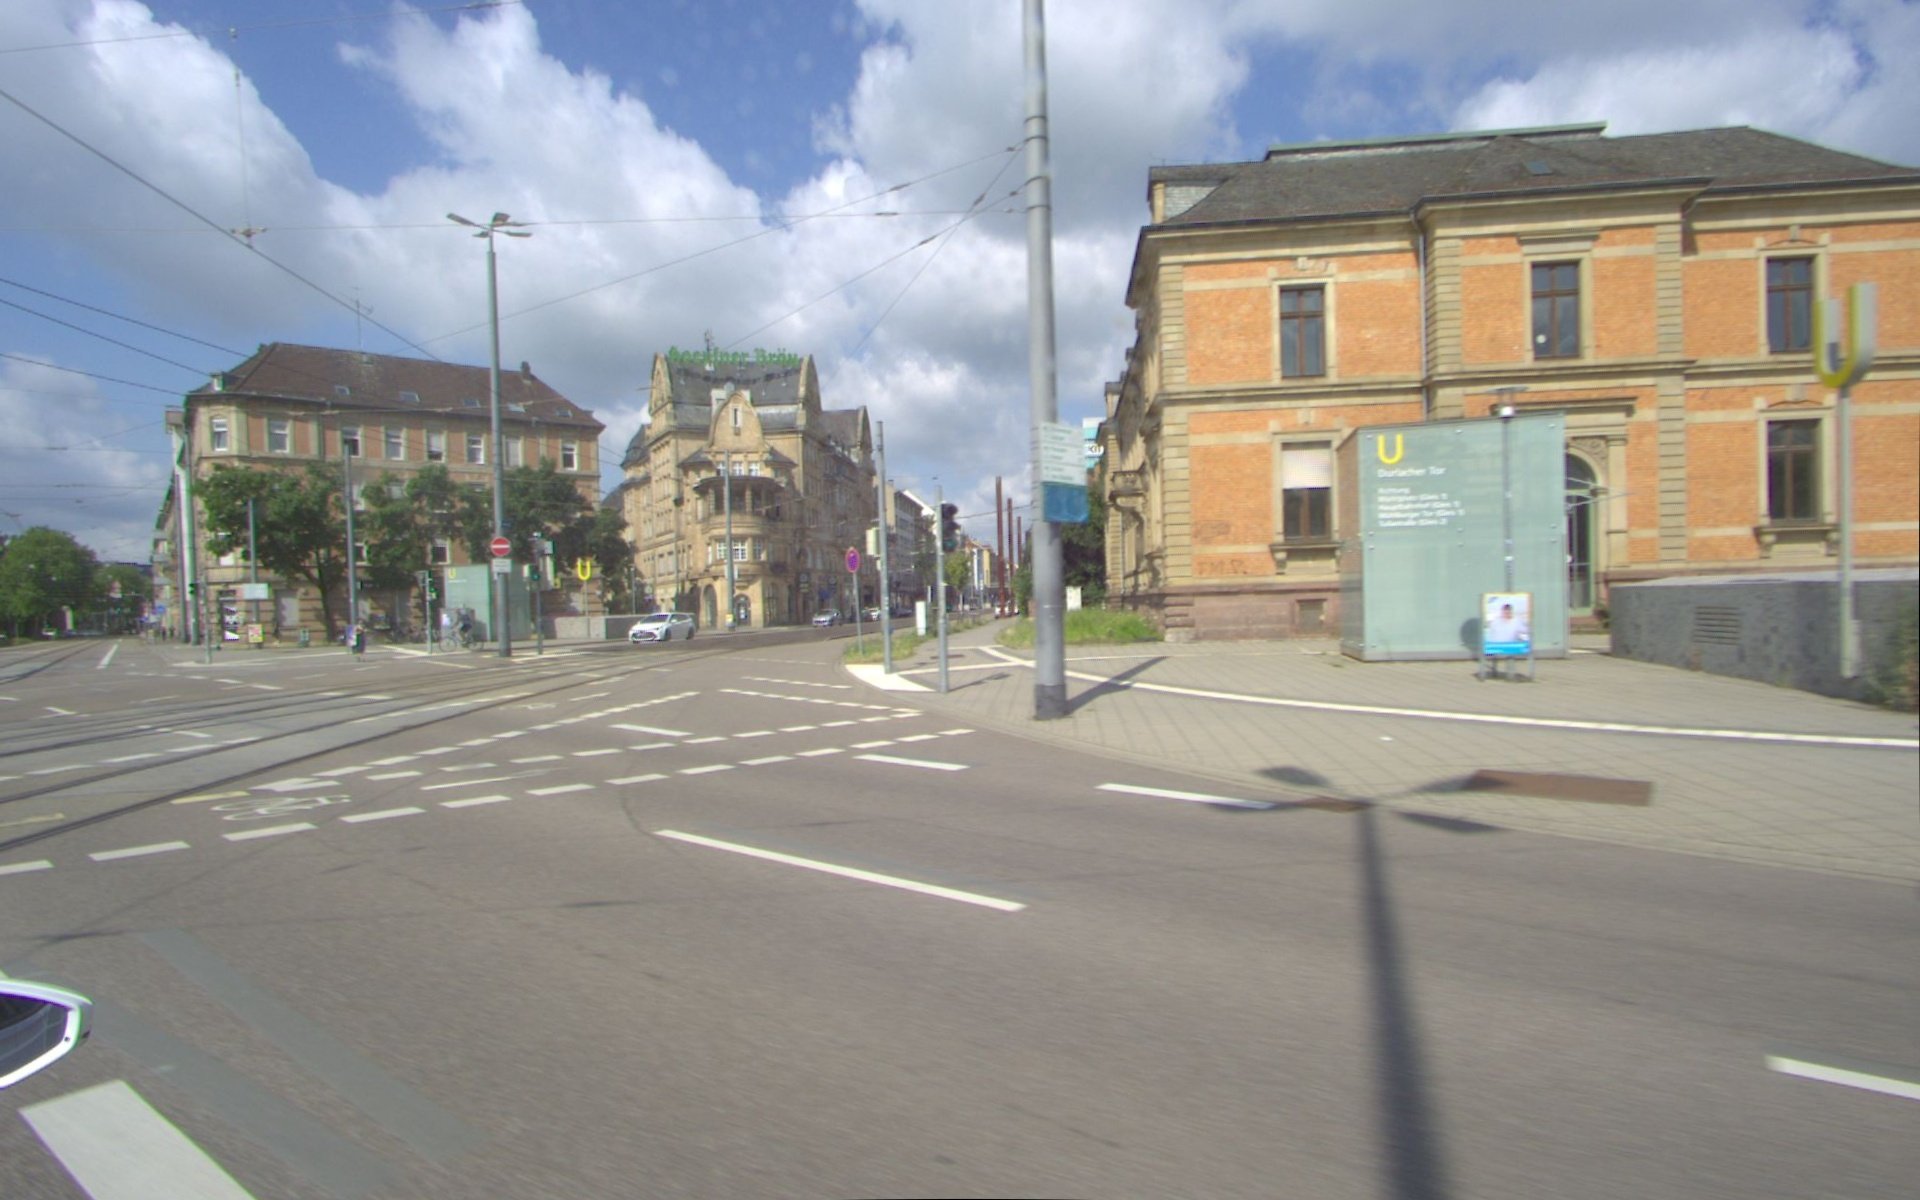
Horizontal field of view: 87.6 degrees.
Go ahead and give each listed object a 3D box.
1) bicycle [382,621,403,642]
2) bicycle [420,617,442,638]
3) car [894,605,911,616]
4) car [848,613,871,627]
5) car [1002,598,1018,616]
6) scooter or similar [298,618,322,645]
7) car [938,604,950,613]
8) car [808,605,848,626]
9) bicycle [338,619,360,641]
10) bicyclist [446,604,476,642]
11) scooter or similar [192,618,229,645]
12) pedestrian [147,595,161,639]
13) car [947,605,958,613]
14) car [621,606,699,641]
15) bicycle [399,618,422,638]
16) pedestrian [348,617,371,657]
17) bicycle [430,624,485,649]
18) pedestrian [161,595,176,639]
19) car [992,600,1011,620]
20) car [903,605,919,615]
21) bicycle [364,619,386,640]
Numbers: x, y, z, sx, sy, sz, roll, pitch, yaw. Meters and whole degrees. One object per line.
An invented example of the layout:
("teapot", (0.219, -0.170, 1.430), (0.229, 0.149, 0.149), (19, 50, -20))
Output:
("bicycle", (-33.741, 1.869, 59.481), (0.752, 1.180, 2.666), (0, -2, -37))
("bicycle", (-32.151, 1.661, 60.839), (0.752, 1.181, 2.664), (-2, 0, -38))
("car", (-7.834, 1.406, 136.796), (1.834, 1.402, 3.999), (-1, 0, 4))
("car", (-10.589, 2.102, 105.667), (1.834, 1.401, 4.002), (-1, -2, 4))
("car", (6.256, 0.874, 125.570), (1.961, 2.039, 4.002), (-1, -2, 2))
("scooter or similar", (-36.859, 1.766, 56.750), (0.870, 1.502, 1.998), (-2, 0, -40))
("car", (-2.954, 1.515, 181.371), (1.834, 1.401, 4.002), (-1, -2, 4))
("car", (-11.048, 1.327, 84.162), (1.806, 1.616, 3.996), (-2, -2, 17))
("bicycle", (-35.441, 1.736, 58.069), (0.752, 1.181, 2.664), (-2, 0, -38))
("bicyclist", (-22.362, 1.039, 44.858), (1.133, 1.696, 0.612), (0, -1, -32))
("scooter or similar", (-40.599, 1.700, 54.234), (2.776, 1.403, 1.170), (-3, -2, 44))
("pedestrian", (-57.556, 1.224, 71.505), (0.658, 3.160, 0.883), (0, -1, -31))
("car", (-1.490, 1.755, 195.541), (1.834, 1.401, 4.002), (-1, -2, 4))
("car", (-14.569, 1.178, 48.938), (1.919, 1.616, 4.507), (-1, -2, 8))
("bicycle", (-32.976, 1.680, 60.081), (0.752, 1.181, 2.664), (-2, 0, -38))
("pedestrian", (-23.245, 1.426, 38.760), (0.732, 1.536, 0.541), (-2, 1, -32))
("bicycle", (-22.457, 1.641, 44.773), (2.166, 1.084, 0.873), (0, -2, -30))
("pedestrian", (-56.838, 1.224, 71.932), (0.717, 3.115, 0.883), (0, -1, -31))
("car", (4.489, 1.080, 107.418), (1.961, 2.039, 4.002), (-1, -2, 2))
("car", (-7.034, 1.464, 143.429), (1.834, 1.402, 3.999), (-1, 0, 4))
("bicycle", (-34.381, 1.712, 58.839), (0.752, 1.181, 2.664), (0, -1, -38))
